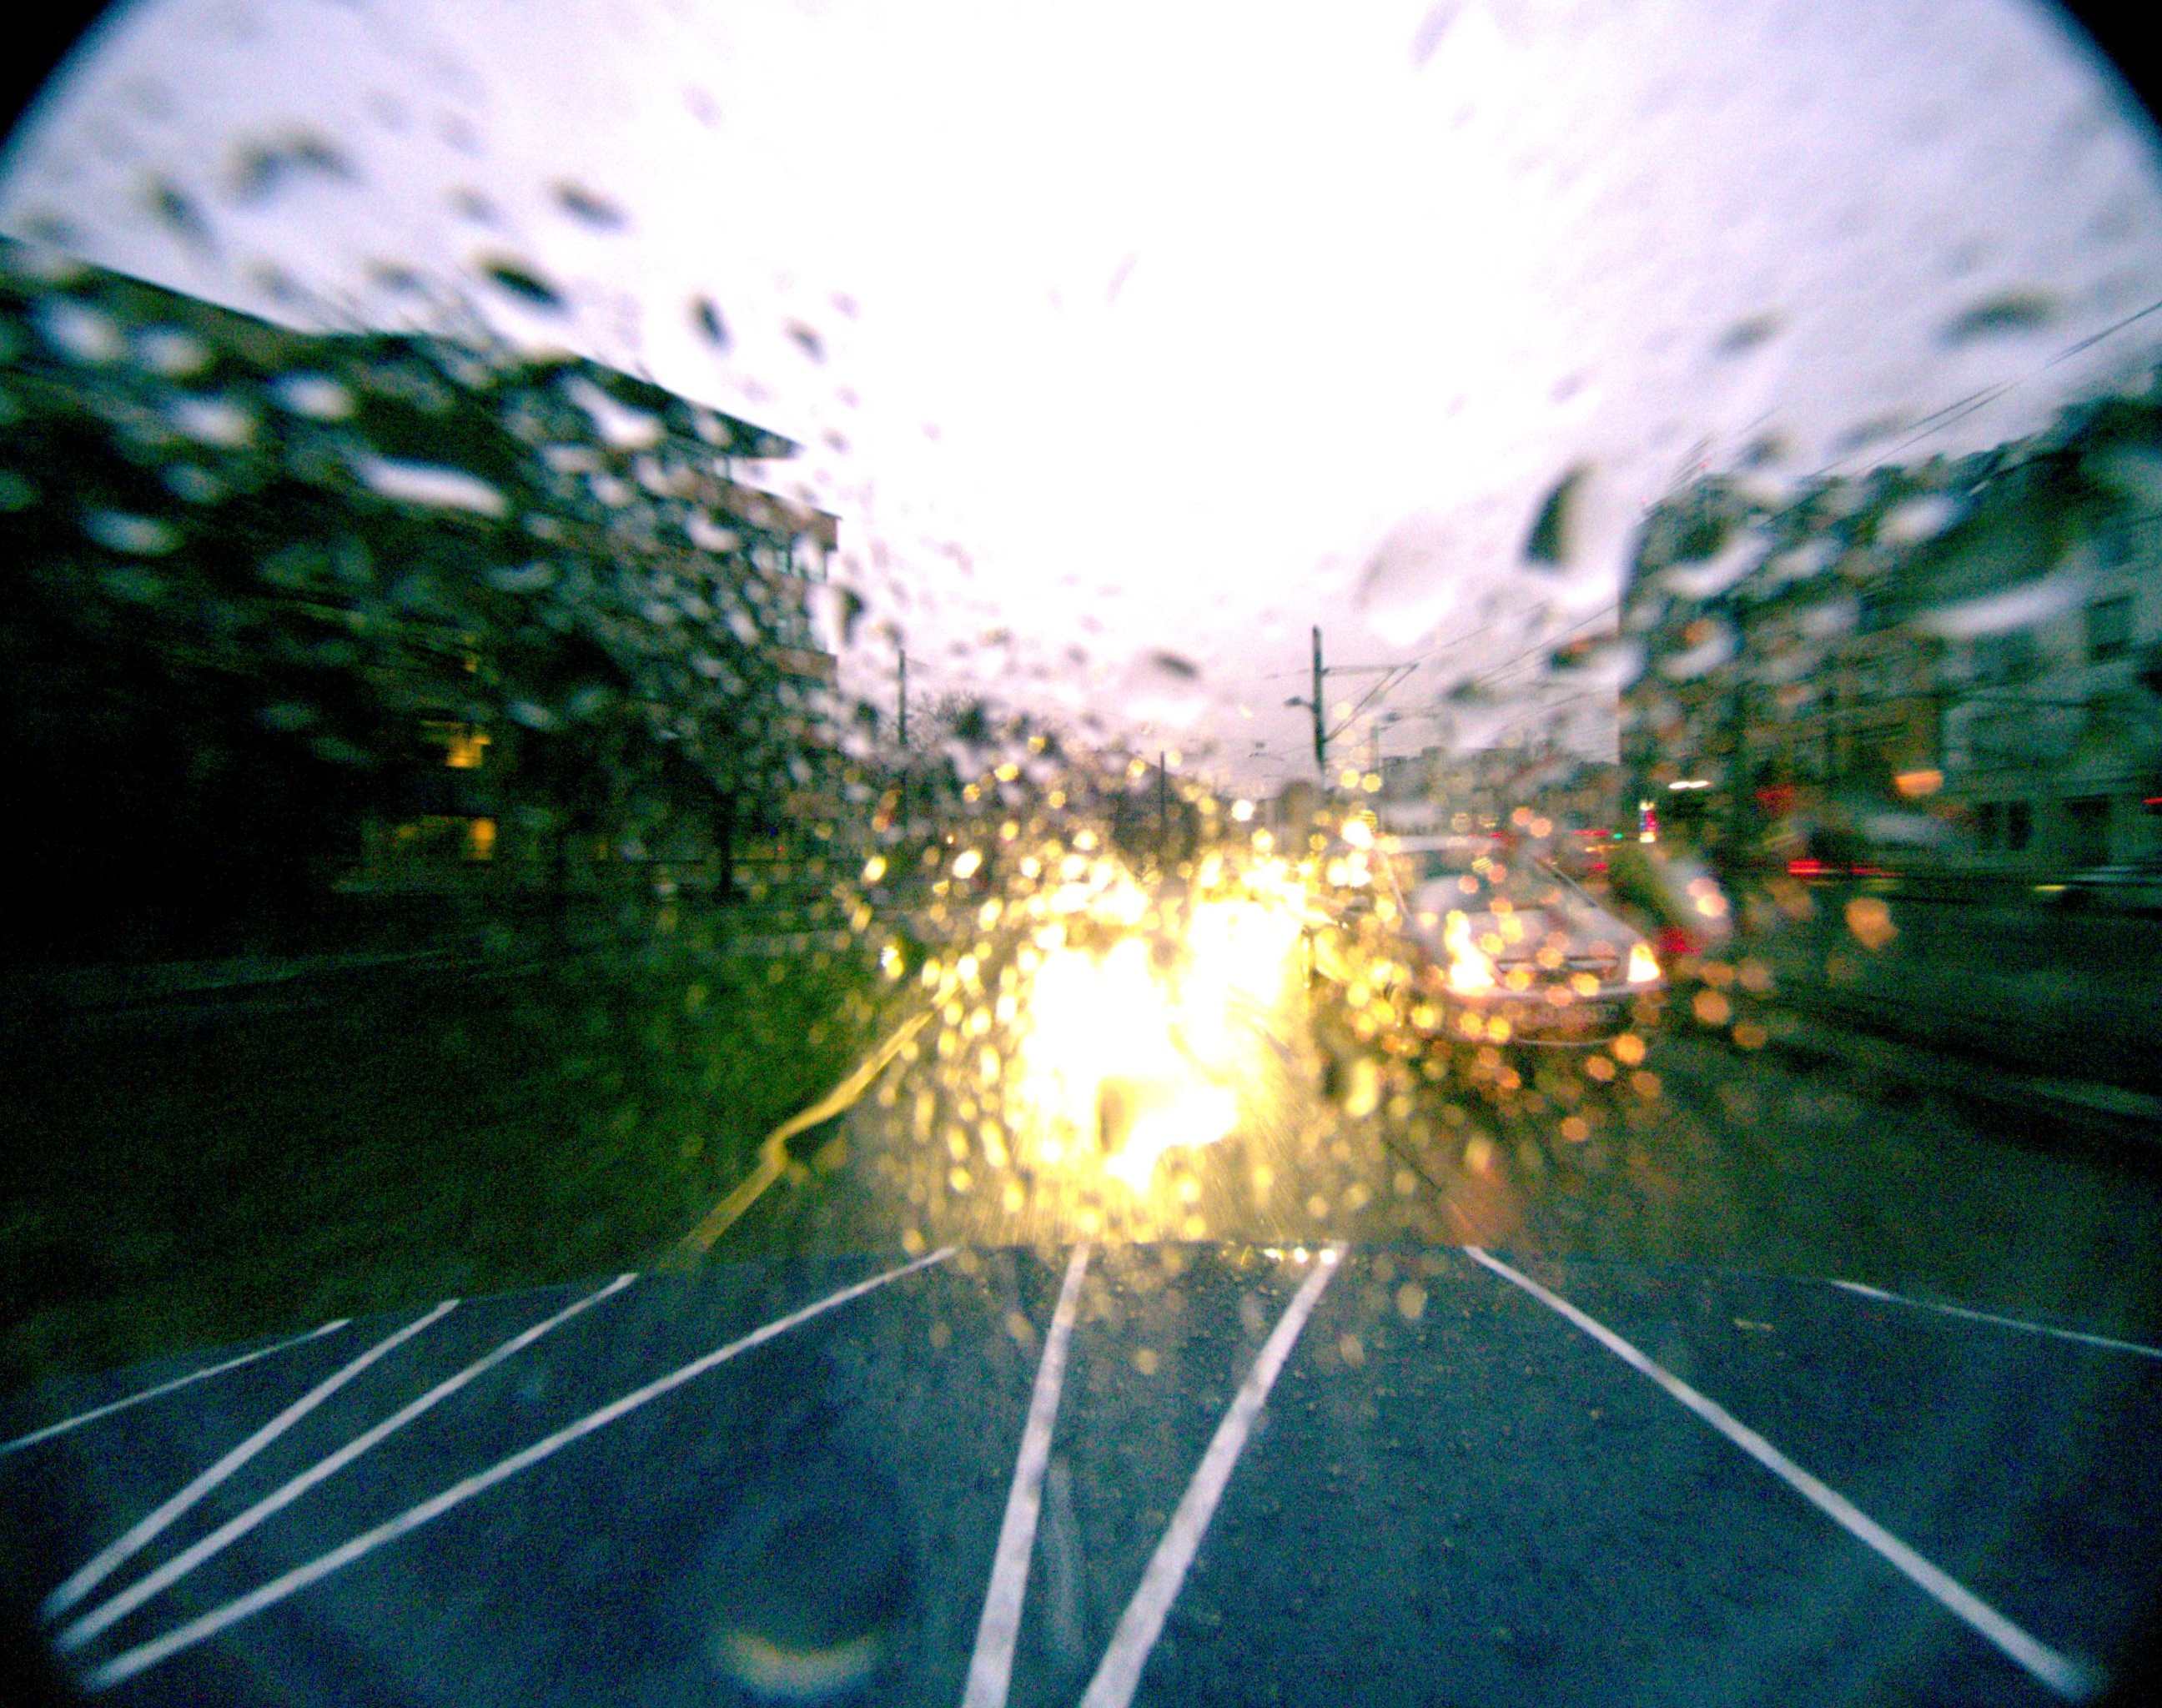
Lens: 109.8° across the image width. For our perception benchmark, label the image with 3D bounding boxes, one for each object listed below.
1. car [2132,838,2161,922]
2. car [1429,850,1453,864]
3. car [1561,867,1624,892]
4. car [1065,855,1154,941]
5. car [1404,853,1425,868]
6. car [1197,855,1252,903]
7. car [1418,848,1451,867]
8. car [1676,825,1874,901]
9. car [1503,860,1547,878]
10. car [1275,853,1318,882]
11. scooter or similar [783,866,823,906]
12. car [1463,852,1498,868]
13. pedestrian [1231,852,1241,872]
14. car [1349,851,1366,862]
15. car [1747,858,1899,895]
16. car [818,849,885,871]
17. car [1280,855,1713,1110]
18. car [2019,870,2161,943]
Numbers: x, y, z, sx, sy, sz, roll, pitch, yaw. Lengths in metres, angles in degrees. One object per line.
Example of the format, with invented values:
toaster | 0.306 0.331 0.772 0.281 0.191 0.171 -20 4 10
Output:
car | 25.769 0.588 15.945 1.998 1.929 3.943 0 0 1
car | 36.150 0.306 76.334 1.682 1.384 3.618 0 0 16
car | 27.786 1.347 41.394 1.538 1.219 4.092 0 0 14
car | 0.584 0.838 16.367 1.649 1.575 3.805 -1 0 1
car | 33.950 0.660 77.366 1.489 1.478 3.156 0 0 15
car | 4.986 0.819 26.494 1.751 1.535 4.003 0 0 10
car | 30.032 0.281 64.662 1.682 1.544 4.126 0 0 13
car | 22.924 0.276 25.469 1.998 2.296 5.267 0 0 3
car | 30.566 1.009 52.426 1.602 1.127 3.793 0 0 13
car | 13.471 0.799 47.324 1.816 1.732 4.194 1 0 27
scooter or similar | -8.726 0.982 23.873 1.146 1.224 0.487 0 0 -16
car | 33.846 0.484 64.520 1.682 1.346 4.392 0 0 14
pedestrian | 14.584 0.745 71.632 0.572 1.828 0.684 6 2 27
car | 43.222 0.348 118.866 1.996 1.635 4.004 1 0 14
car | 25.968 0.742 26.813 1.540 1.219 4.088 0 0 3
car | -17.373 0.440 57.598 4.510 1.660 1.999 0 0 -3
car | 3.066 0.787 6.685 1.649 1.539 4.110 -1 0 2
car | 19.847 0.947 13.403 1.540 1.238 4.087 0 0 0
